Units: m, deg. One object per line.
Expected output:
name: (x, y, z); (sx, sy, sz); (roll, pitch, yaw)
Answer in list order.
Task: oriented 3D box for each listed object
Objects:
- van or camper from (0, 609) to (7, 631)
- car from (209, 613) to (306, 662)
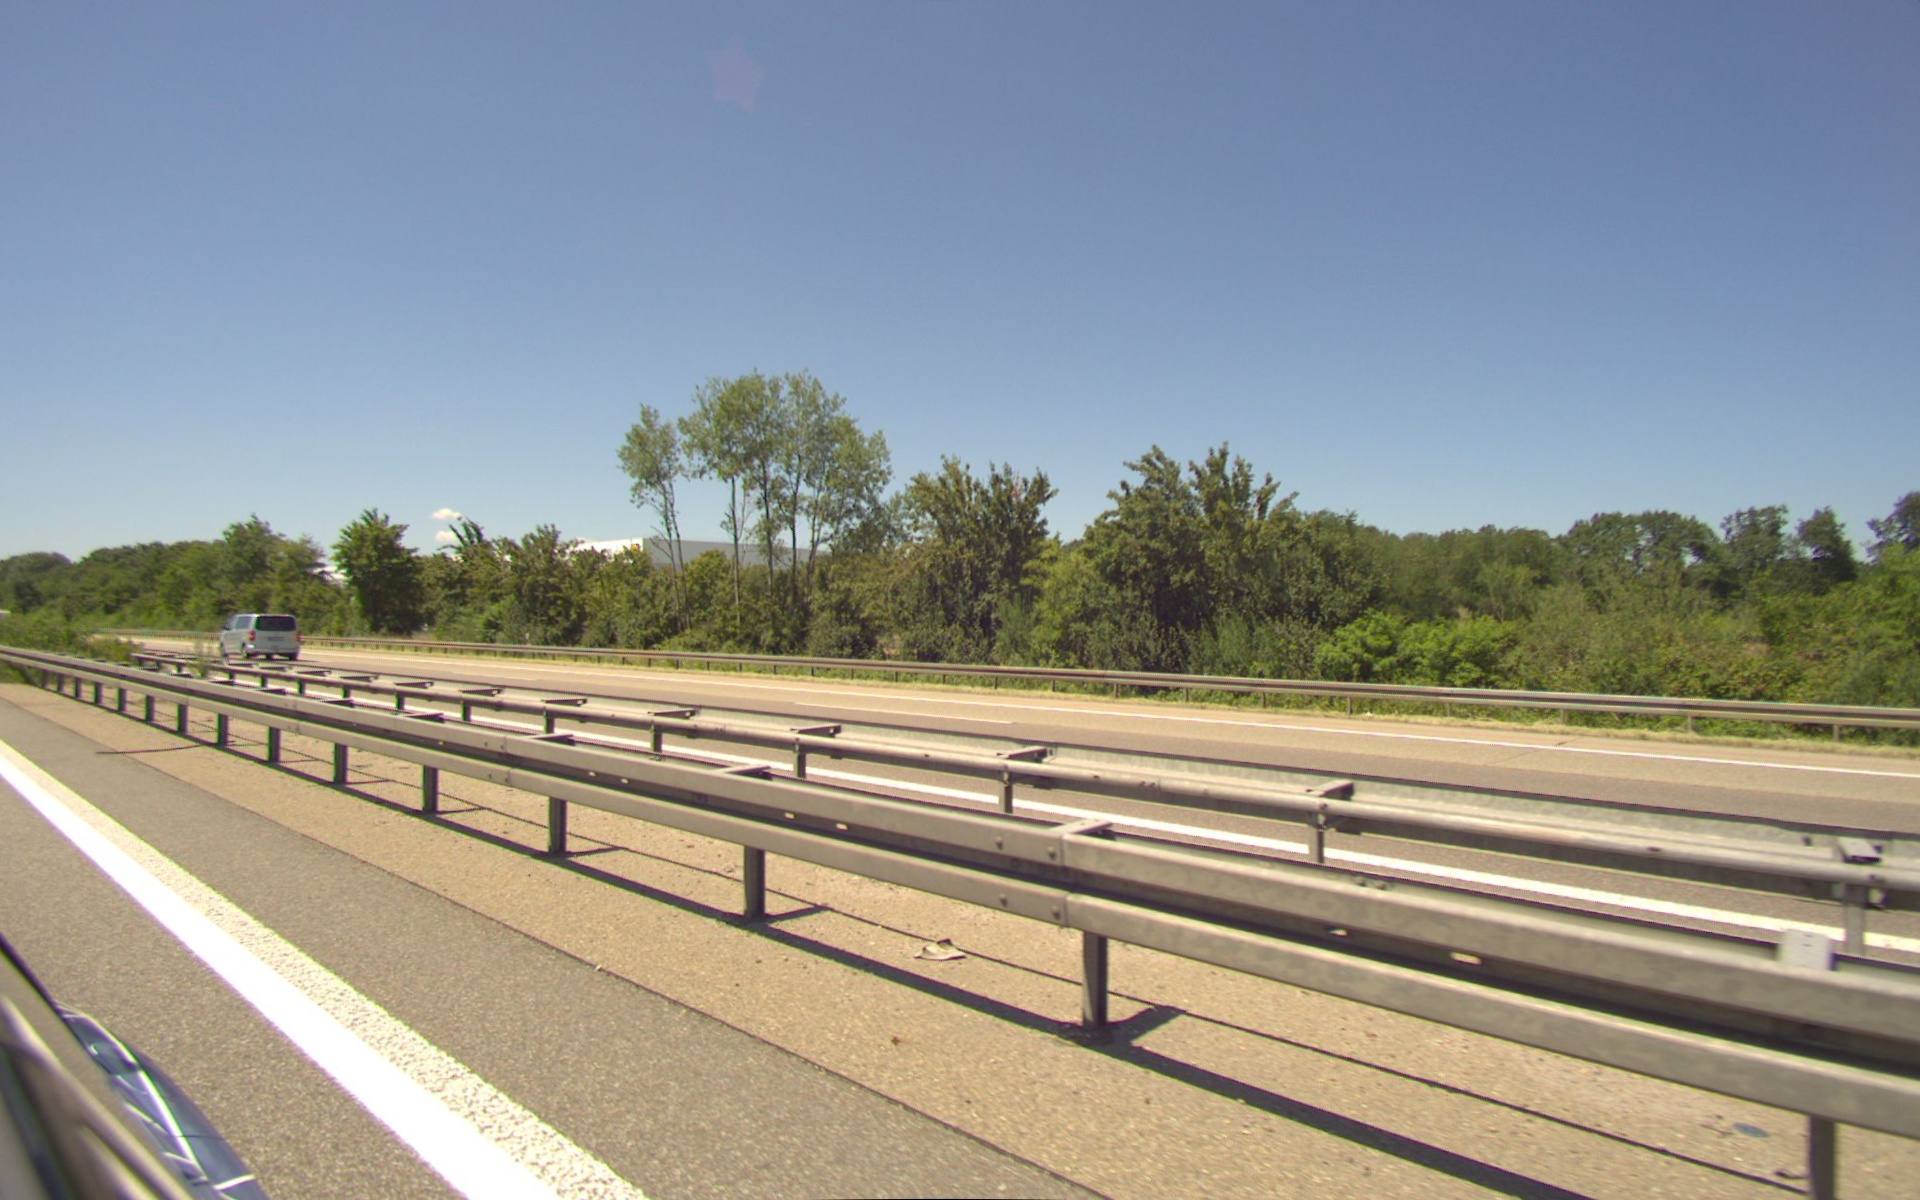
van or camper: (-133.635, 2.771, 139.340); (7.443, 2.992, 2.820); (-1, -3, 41)
car: (-29.352, 1.560, 42.195); (5.224, 1.939, 2.020); (-1, -4, 41)
